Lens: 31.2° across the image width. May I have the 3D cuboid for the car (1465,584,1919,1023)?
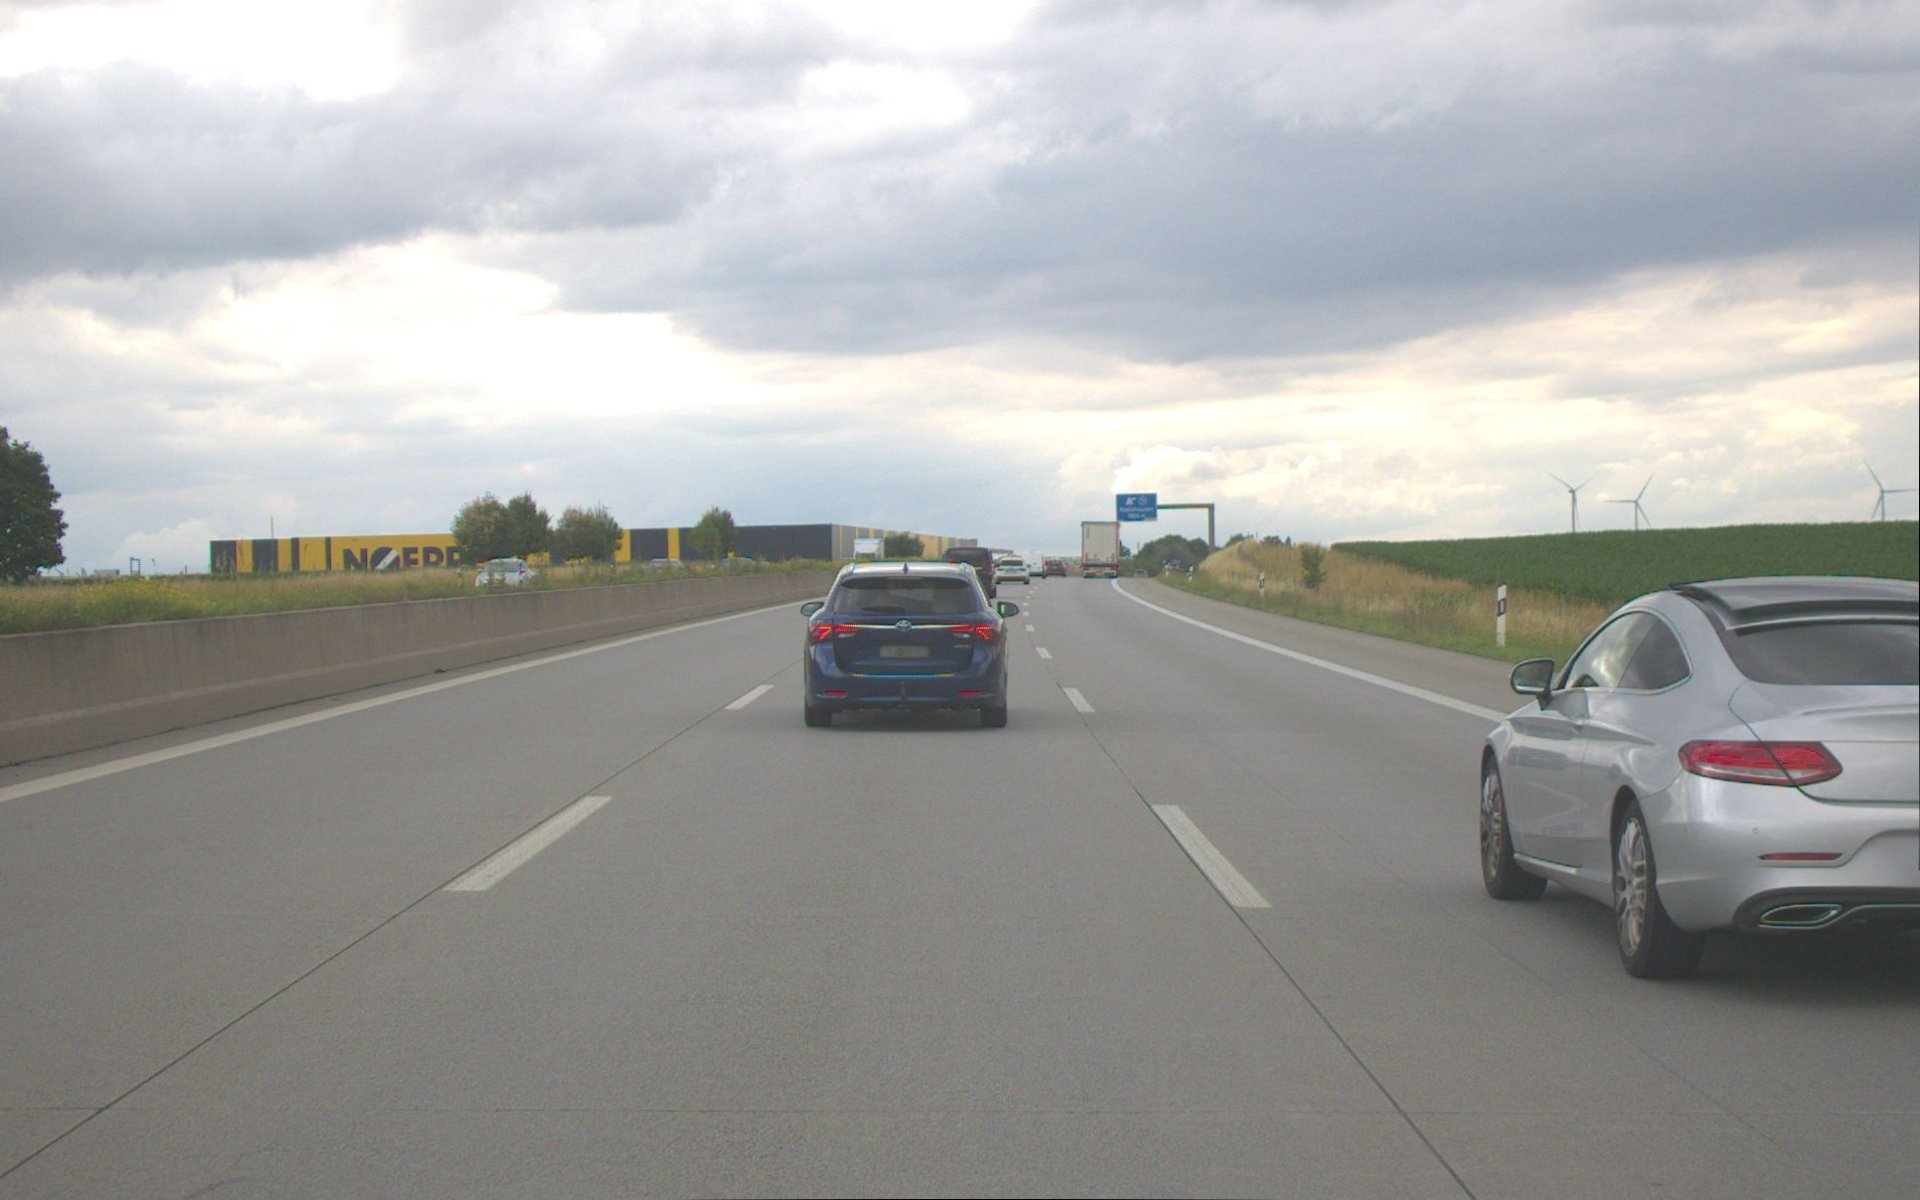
[{"bbox_3d":[3.174,0.648,13.170,1.788,1.399,4.221,0,0,-1],"label":"car"}]

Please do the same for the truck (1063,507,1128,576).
[{"bbox_3d":[9.781,-4.217,249.776,3.950,4.740,12.076,1,0,-1],"label":"truck"}]

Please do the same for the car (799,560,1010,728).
[{"bbox_3d":[-0.496,0.355,31.037,1.774,1.408,4.000,0,0,-1],"label":"car"}]

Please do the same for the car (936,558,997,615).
[{"bbox_3d":[0.227,-0.486,123.707,1.993,2.007,4.000,1,0,-3],"label":"car"}]

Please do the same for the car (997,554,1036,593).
[{"bbox_3d":[2.975,-1.413,183.136,1.993,2.007,4.000,2,1,0],"label":"car"}]

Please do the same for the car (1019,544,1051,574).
[{"bbox_3d":[5.064,-2.781,233.387,1.993,2.007,4.000,1,0,-1],"label":"car"}]

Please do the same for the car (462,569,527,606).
[{"bbox_3d":[-18.793,-0.493,139.020,1.897,1.465,4.850,1,0,1],"label":"car"}]
